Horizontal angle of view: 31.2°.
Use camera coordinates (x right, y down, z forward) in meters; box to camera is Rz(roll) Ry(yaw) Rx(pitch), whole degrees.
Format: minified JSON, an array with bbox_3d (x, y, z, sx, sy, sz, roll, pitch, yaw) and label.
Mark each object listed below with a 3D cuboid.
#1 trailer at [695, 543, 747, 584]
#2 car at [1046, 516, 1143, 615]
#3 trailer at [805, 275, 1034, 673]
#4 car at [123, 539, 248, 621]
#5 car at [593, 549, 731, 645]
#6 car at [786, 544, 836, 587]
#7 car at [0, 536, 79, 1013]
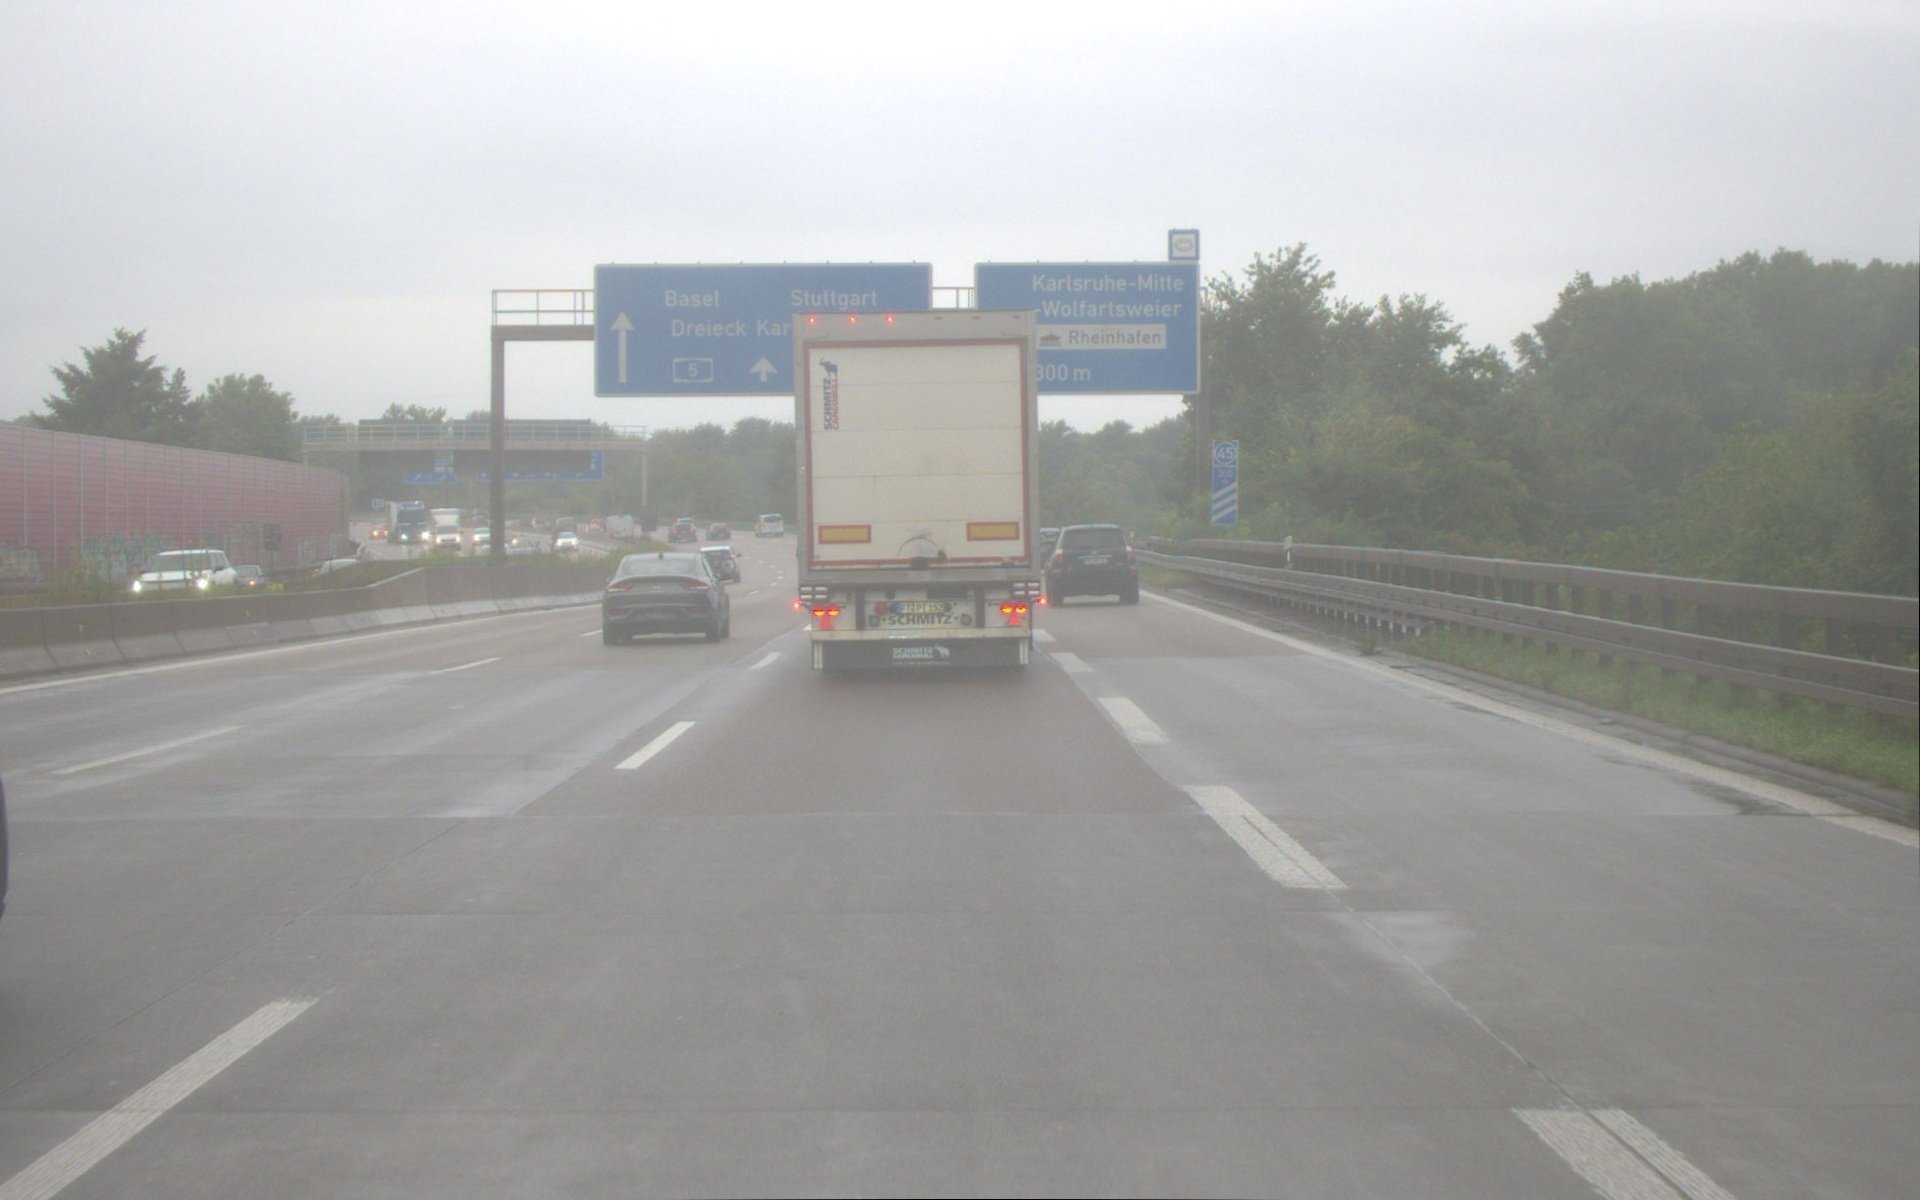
[{"bbox_3d":[-9.876,-1.538,142.288,1.815,1.619,4.568,1,1,0],"label":"trailer"},{"bbox_3d":[2.794,-0.729,72.259,1.897,1.943,4.000,2,1,1],"label":"car"},{"bbox_3d":[-0.425,-1.549,43.576,2.342,4.143,14.828,1,2,0],"label":"trailer"},{"bbox_3d":[-20.389,-0.552,90.737,1.993,2.007,5.807,2,1,-1],"label":"car"},{"bbox_3d":[-4.653,-0.069,54.210,1.725,1.398,4.829,2,1,0],"label":"car"},{"bbox_3d":[-6.058,-1.428,140.083,1.894,1.718,4.000,0,1,0],"label":"car"},{"bbox_3d":[-4.087,0.590,9.891,1.838,1.589,5.156,1,1,-1],"label":"car"}]
